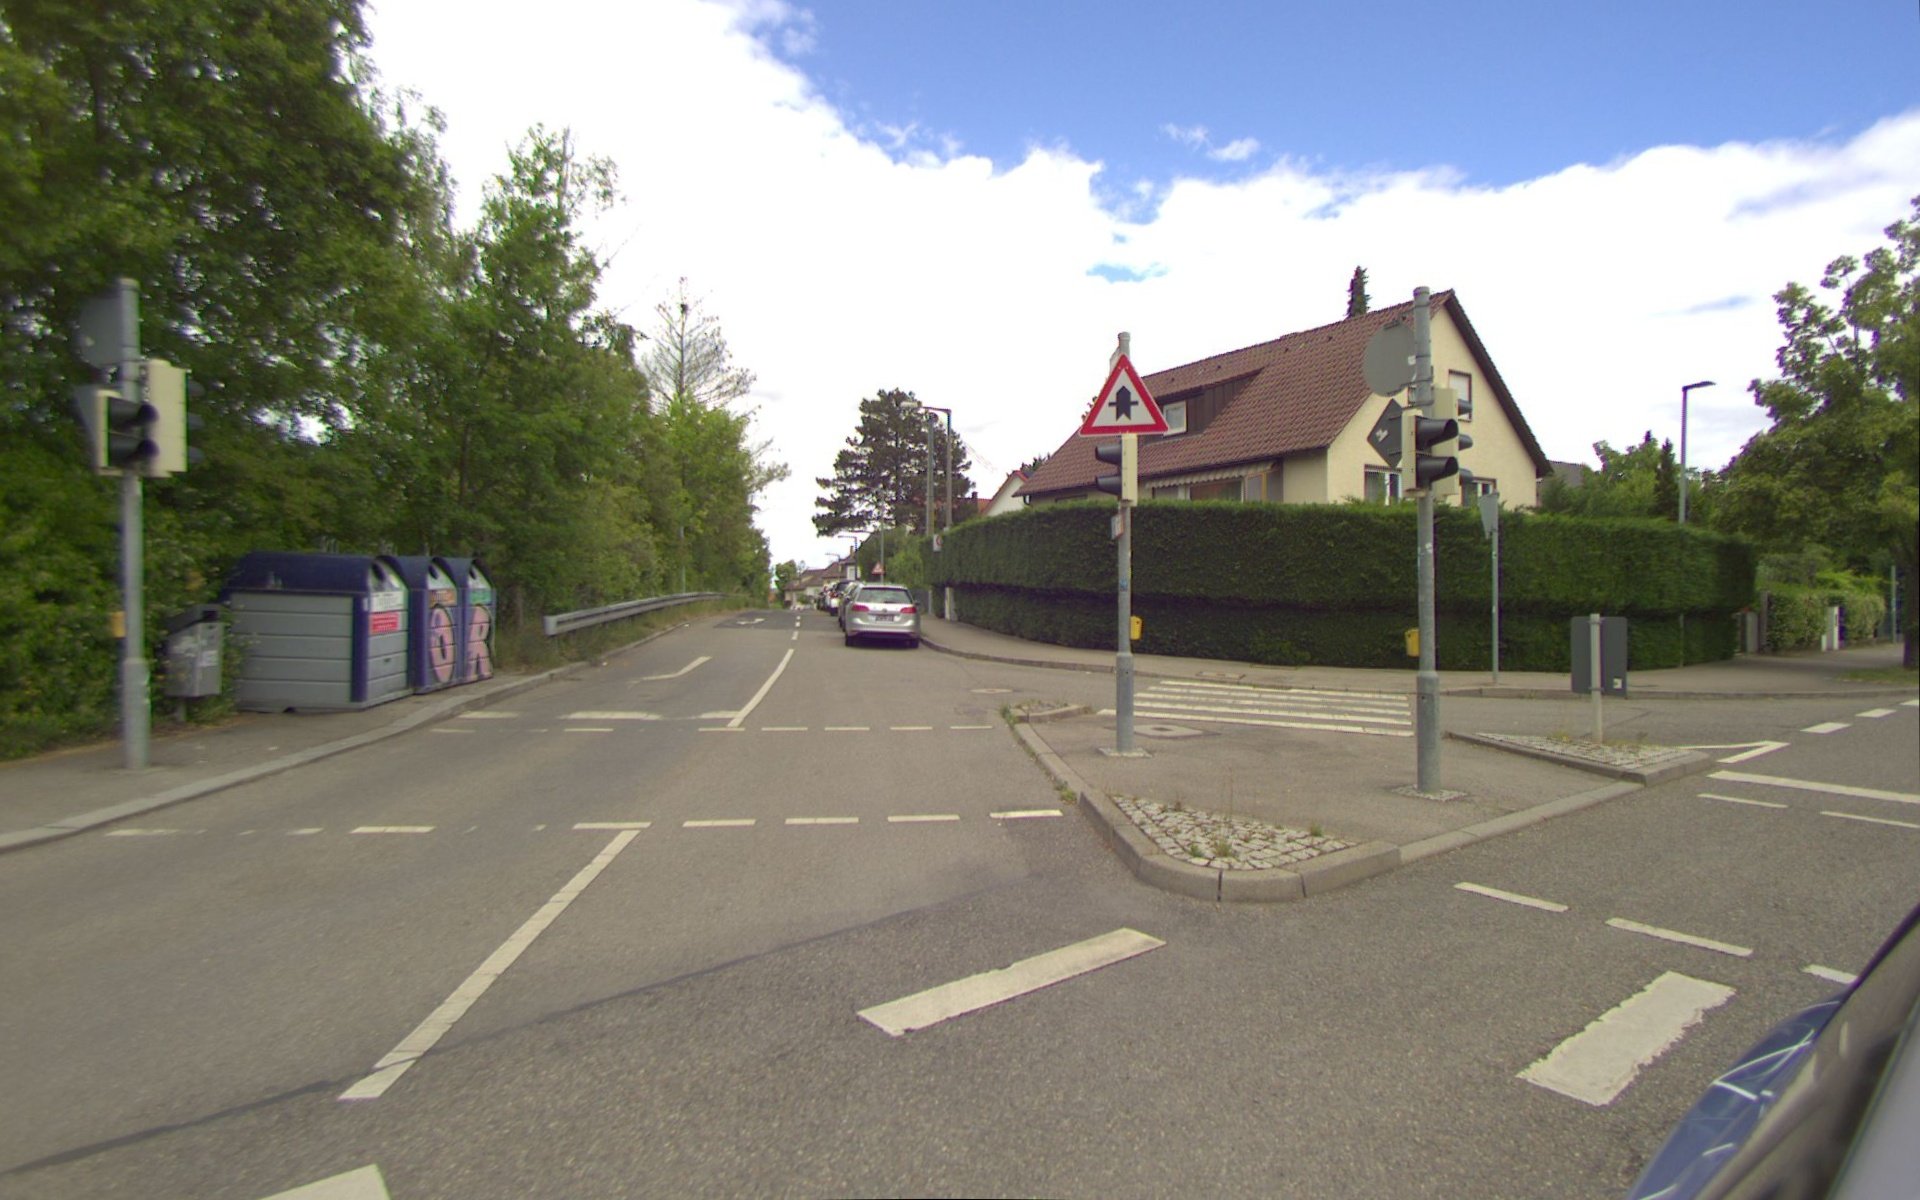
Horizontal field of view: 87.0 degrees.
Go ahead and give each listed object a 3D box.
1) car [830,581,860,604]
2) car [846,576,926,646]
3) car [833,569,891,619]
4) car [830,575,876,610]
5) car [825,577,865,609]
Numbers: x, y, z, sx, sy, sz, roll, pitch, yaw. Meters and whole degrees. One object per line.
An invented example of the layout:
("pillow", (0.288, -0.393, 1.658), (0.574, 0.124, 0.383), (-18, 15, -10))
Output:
("car", (-7.843, -0.525, 68.563), (1.873, 1.489, 4.475), (0, 1, -8))
("car", (-1.834, 0.188, 24.039), (1.679, 1.462, 3.929), (2, 1, -7))
("car", (-3.475, -0.240, 35.314), (1.833, 1.633, 4.146), (0, 1, -8))
("car", (-4.754, -0.357, 44.614), (1.833, 1.489, 4.359), (0, 1, -8))
("car", (-5.723, -0.391, 49.971), (1.833, 1.489, 4.359), (0, 1, -8))
